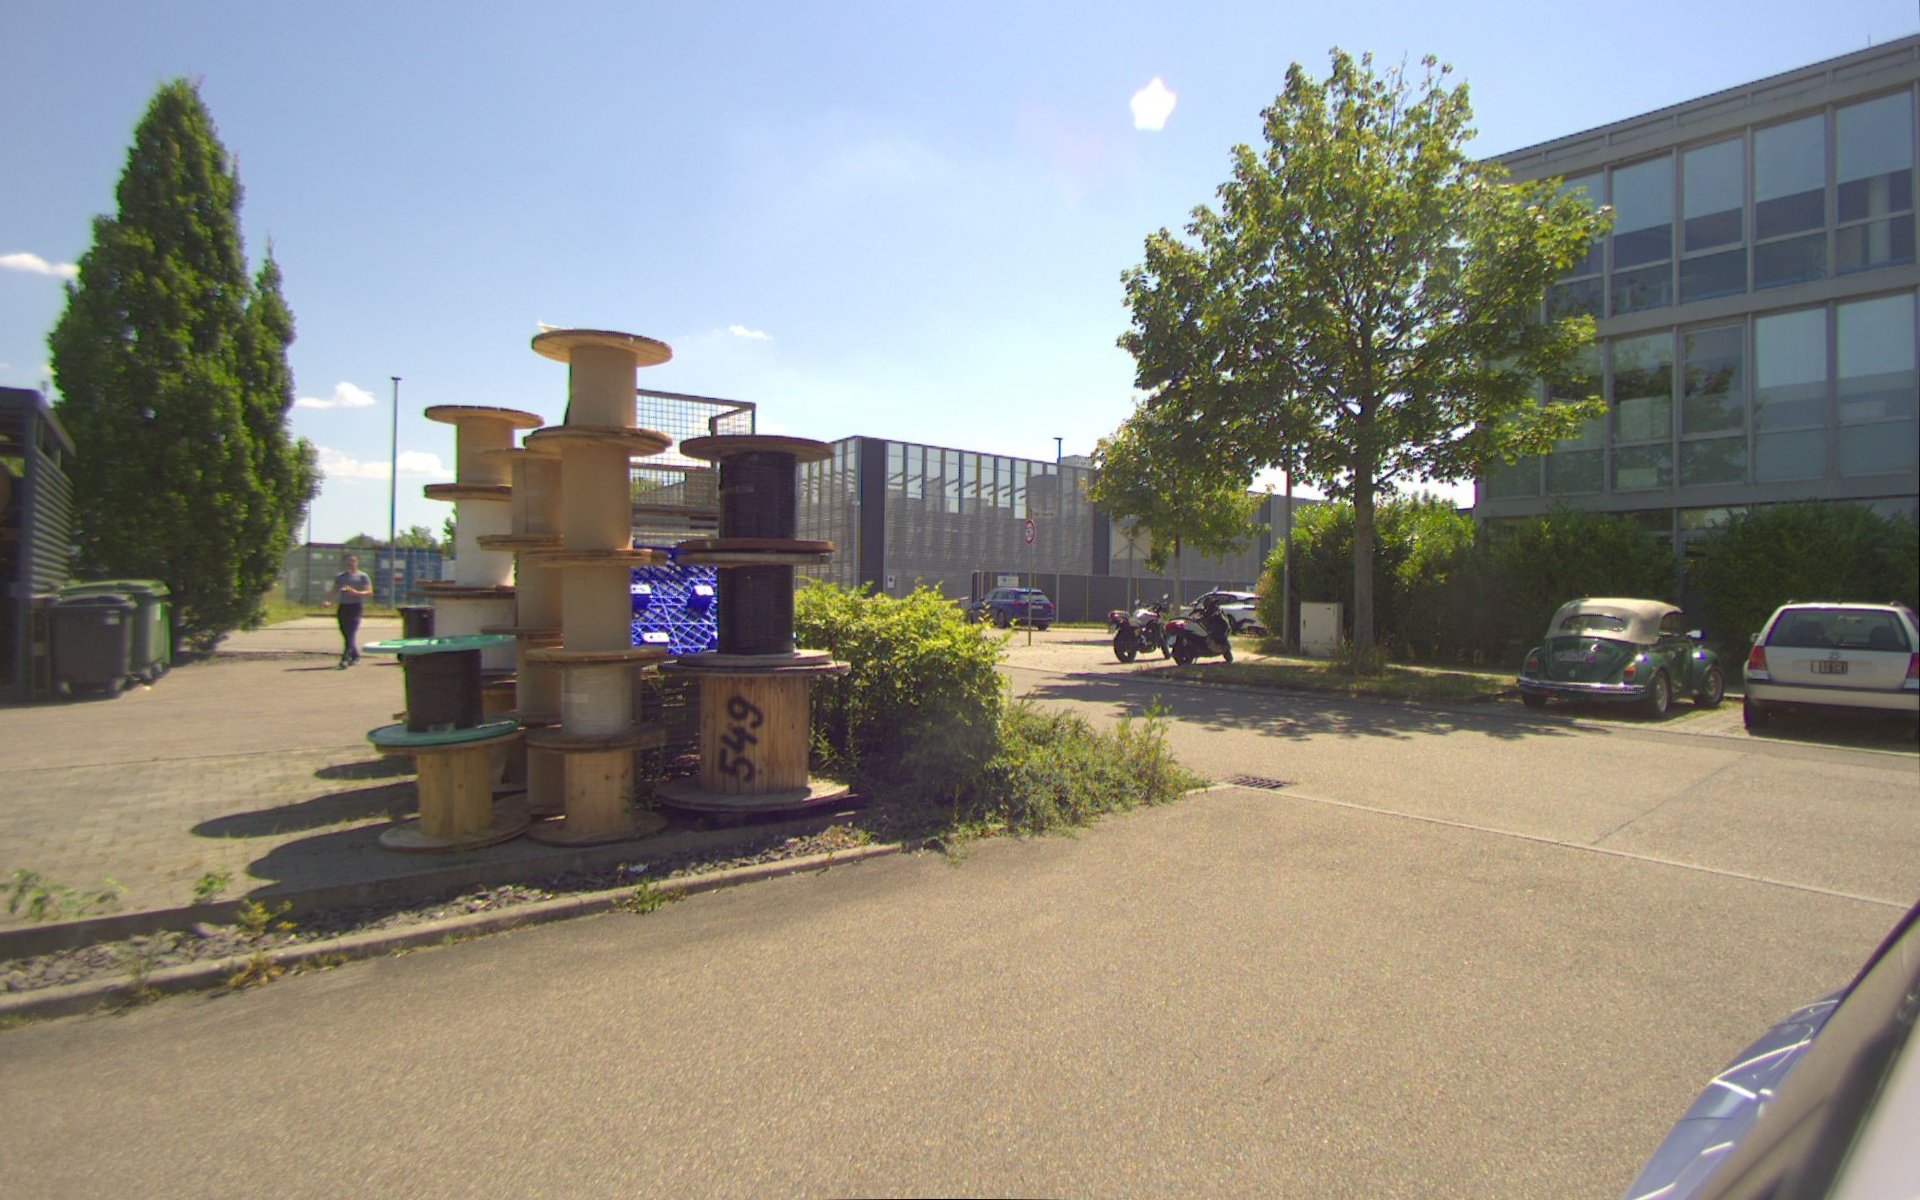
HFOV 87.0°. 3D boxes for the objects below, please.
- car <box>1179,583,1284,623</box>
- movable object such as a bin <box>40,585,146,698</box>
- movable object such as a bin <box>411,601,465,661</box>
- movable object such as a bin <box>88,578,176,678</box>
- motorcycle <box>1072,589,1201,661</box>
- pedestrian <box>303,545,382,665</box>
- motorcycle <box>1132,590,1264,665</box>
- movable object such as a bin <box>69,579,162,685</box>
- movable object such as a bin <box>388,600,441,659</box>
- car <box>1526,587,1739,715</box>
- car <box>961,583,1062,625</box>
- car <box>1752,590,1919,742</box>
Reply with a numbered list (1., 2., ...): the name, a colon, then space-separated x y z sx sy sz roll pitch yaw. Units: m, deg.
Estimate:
1. car: 10.751 0.096 40.408 1.743 1.494 4.424 0 1 -21
2. movable object such as a bin: -10.249 0.456 12.000 0.785 1.265 0.878 0 1 -29
3. movable object such as a bin: -8.398 0.486 16.299 0.580 0.929 0.542 1 1 28
4. movable object such as a bin: -11.315 0.357 13.864 0.785 1.314 0.811 0 1 -29
5. motorcycle: 3.457 0.440 19.617 2.785 1.275 0.873 -1 1 -40
6. pedestrian: -9.517 0.074 15.621 0.793 1.791 0.770 1 0 -7
7. motorcycle: 4.426 0.458 18.689 2.785 1.275 0.873 -1 1 -40
8. movable object such as a bin: -10.908 0.386 13.102 0.785 1.314 0.757 0 1 -29
9. movable object such as a bin: -8.957 0.471 16.621 0.580 0.929 0.542 1 1 28
10. car: 9.023 0.574 13.490 3.360 1.463 1.521 -1 2 -41
11. car: 1.787 0.106 36.726 1.821 1.427 4.454 0 1 -24
12. car: 10.552 0.654 11.782 3.542 1.470 1.639 -1 2 -45
